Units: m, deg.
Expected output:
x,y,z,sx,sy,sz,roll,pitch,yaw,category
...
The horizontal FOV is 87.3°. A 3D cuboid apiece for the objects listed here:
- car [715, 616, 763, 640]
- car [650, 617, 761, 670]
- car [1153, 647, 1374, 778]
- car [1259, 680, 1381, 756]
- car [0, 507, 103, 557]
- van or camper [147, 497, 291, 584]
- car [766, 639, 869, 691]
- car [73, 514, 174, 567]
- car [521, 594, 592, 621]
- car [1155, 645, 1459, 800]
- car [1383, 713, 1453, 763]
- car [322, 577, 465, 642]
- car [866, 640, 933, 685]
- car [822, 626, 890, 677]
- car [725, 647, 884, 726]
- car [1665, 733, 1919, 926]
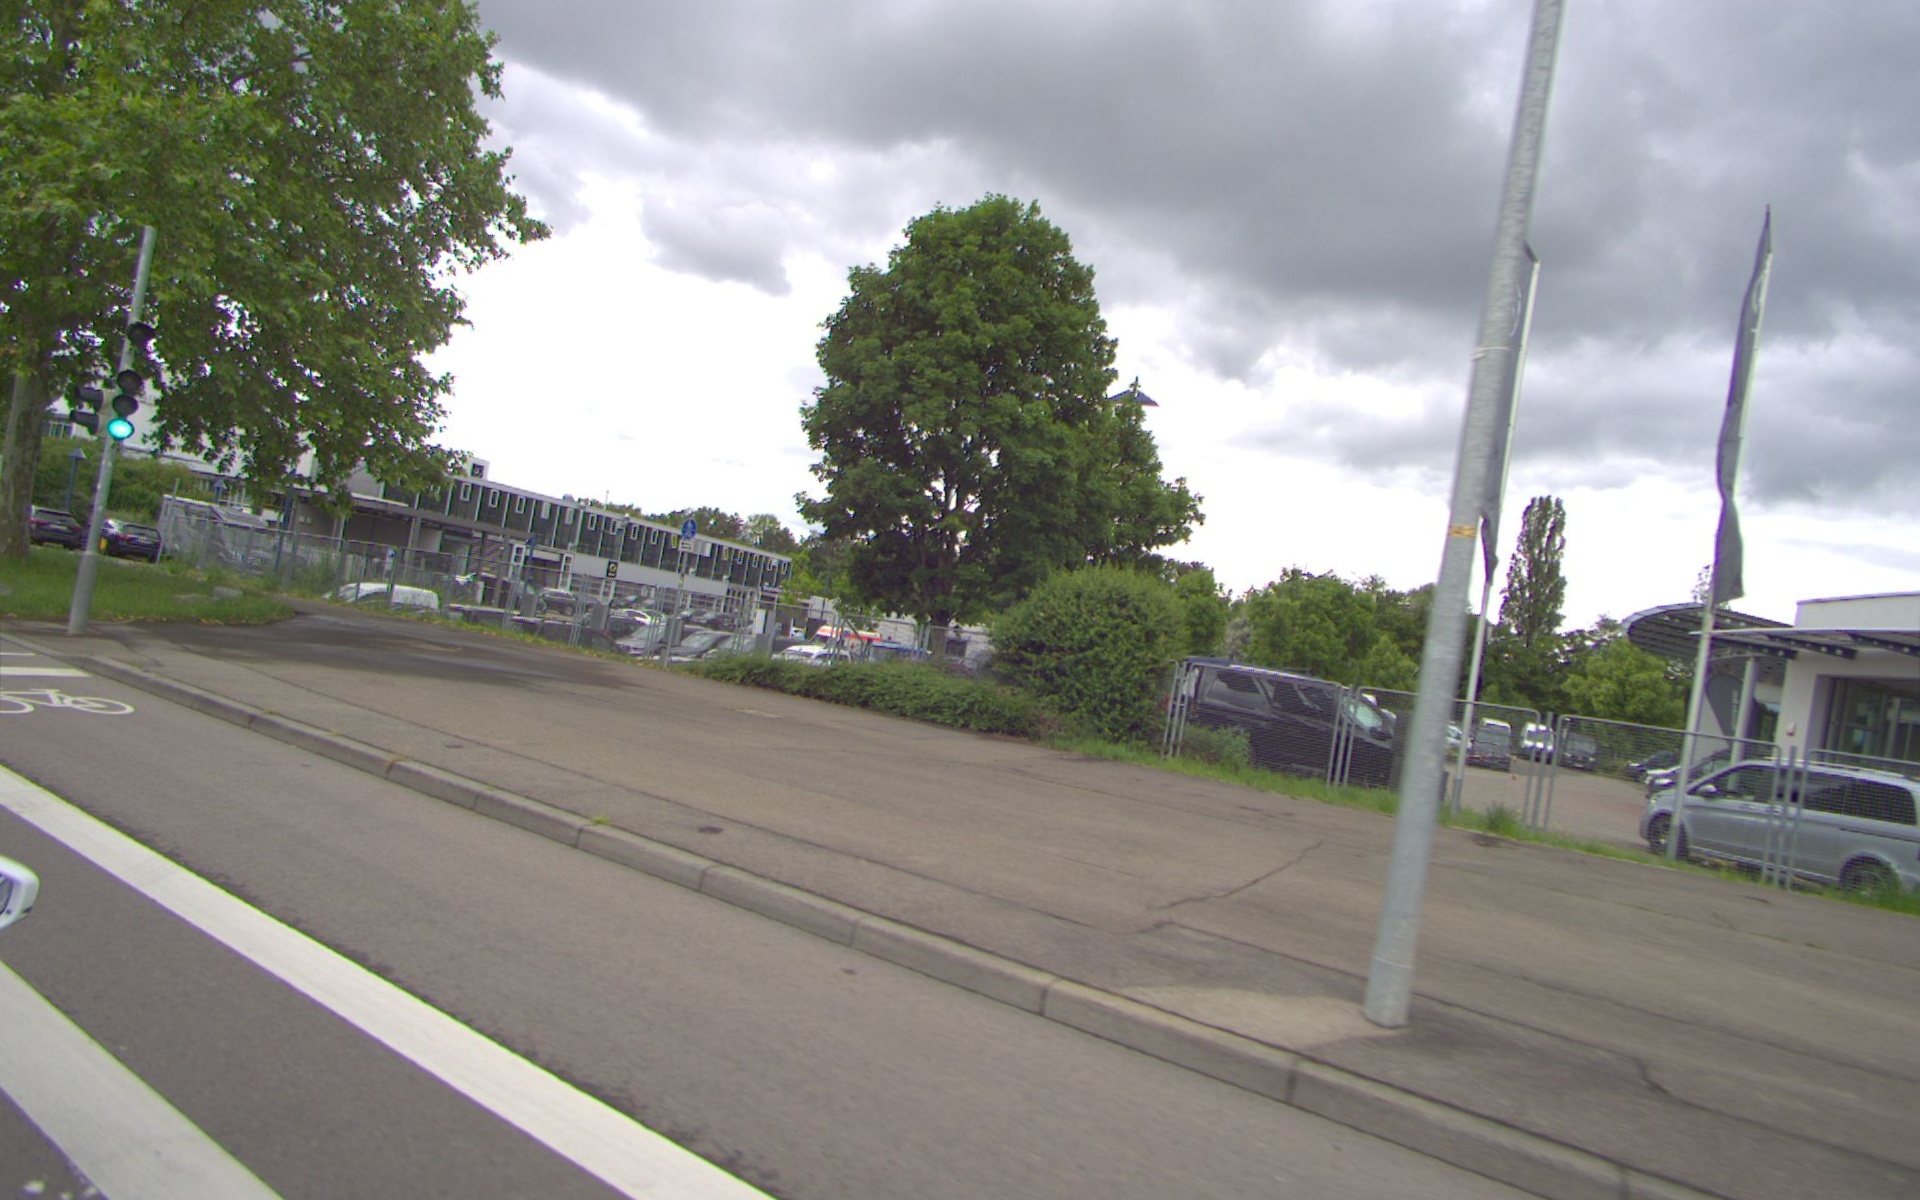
x,y,z,sx,sy,sz,roll,pitch,yaw,category
-18.736,2.392,85.331,1.598,1.544,3.645,7,-3,36,car
-9.937,1.746,39.531,1.965,1.569,4.001,7,-3,26,car
7.058,2.590,23.735,4.347,2.352,2.001,8,-2,-1,car
14.858,4.844,41.513,4.352,2.340,2.010,3,-13,28,car
-34.747,-2.618,38.453,4.272,1.369,1.714,7,-2,32,car
-31.336,-2.546,42.476,6.801,2.901,1.970,7,-1,29,van or camper
-5.437,2.534,38.791,1.964,1.569,4.003,7,-3,24,car
-33.767,-2.396,40.564,4.272,1.524,1.716,7,-4,32,car
-23.183,0.437,57.883,1.389,0.989,3.650,7,-3,30,car
6.277,2.191,18.570,4.711,2.048,2.001,8,-2,-2,car
23.958,7.207,52.538,1.974,2.035,3.985,7,-4,44,car
-18.845,0.361,33.639,1.662,1.635,3.747,7,-3,26,car
-3.436,3.626,57.980,1.705,2.136,3.997,7,-3,31,car
-6.233,3.137,60.830,1.705,2.596,4.112,7,-3,31,car
-3.910,2.283,25.993,1.965,1.635,4.001,7,-3,26,car
13.043,3.323,14.840,1.966,2.048,3.998,8,-2,-8,car
